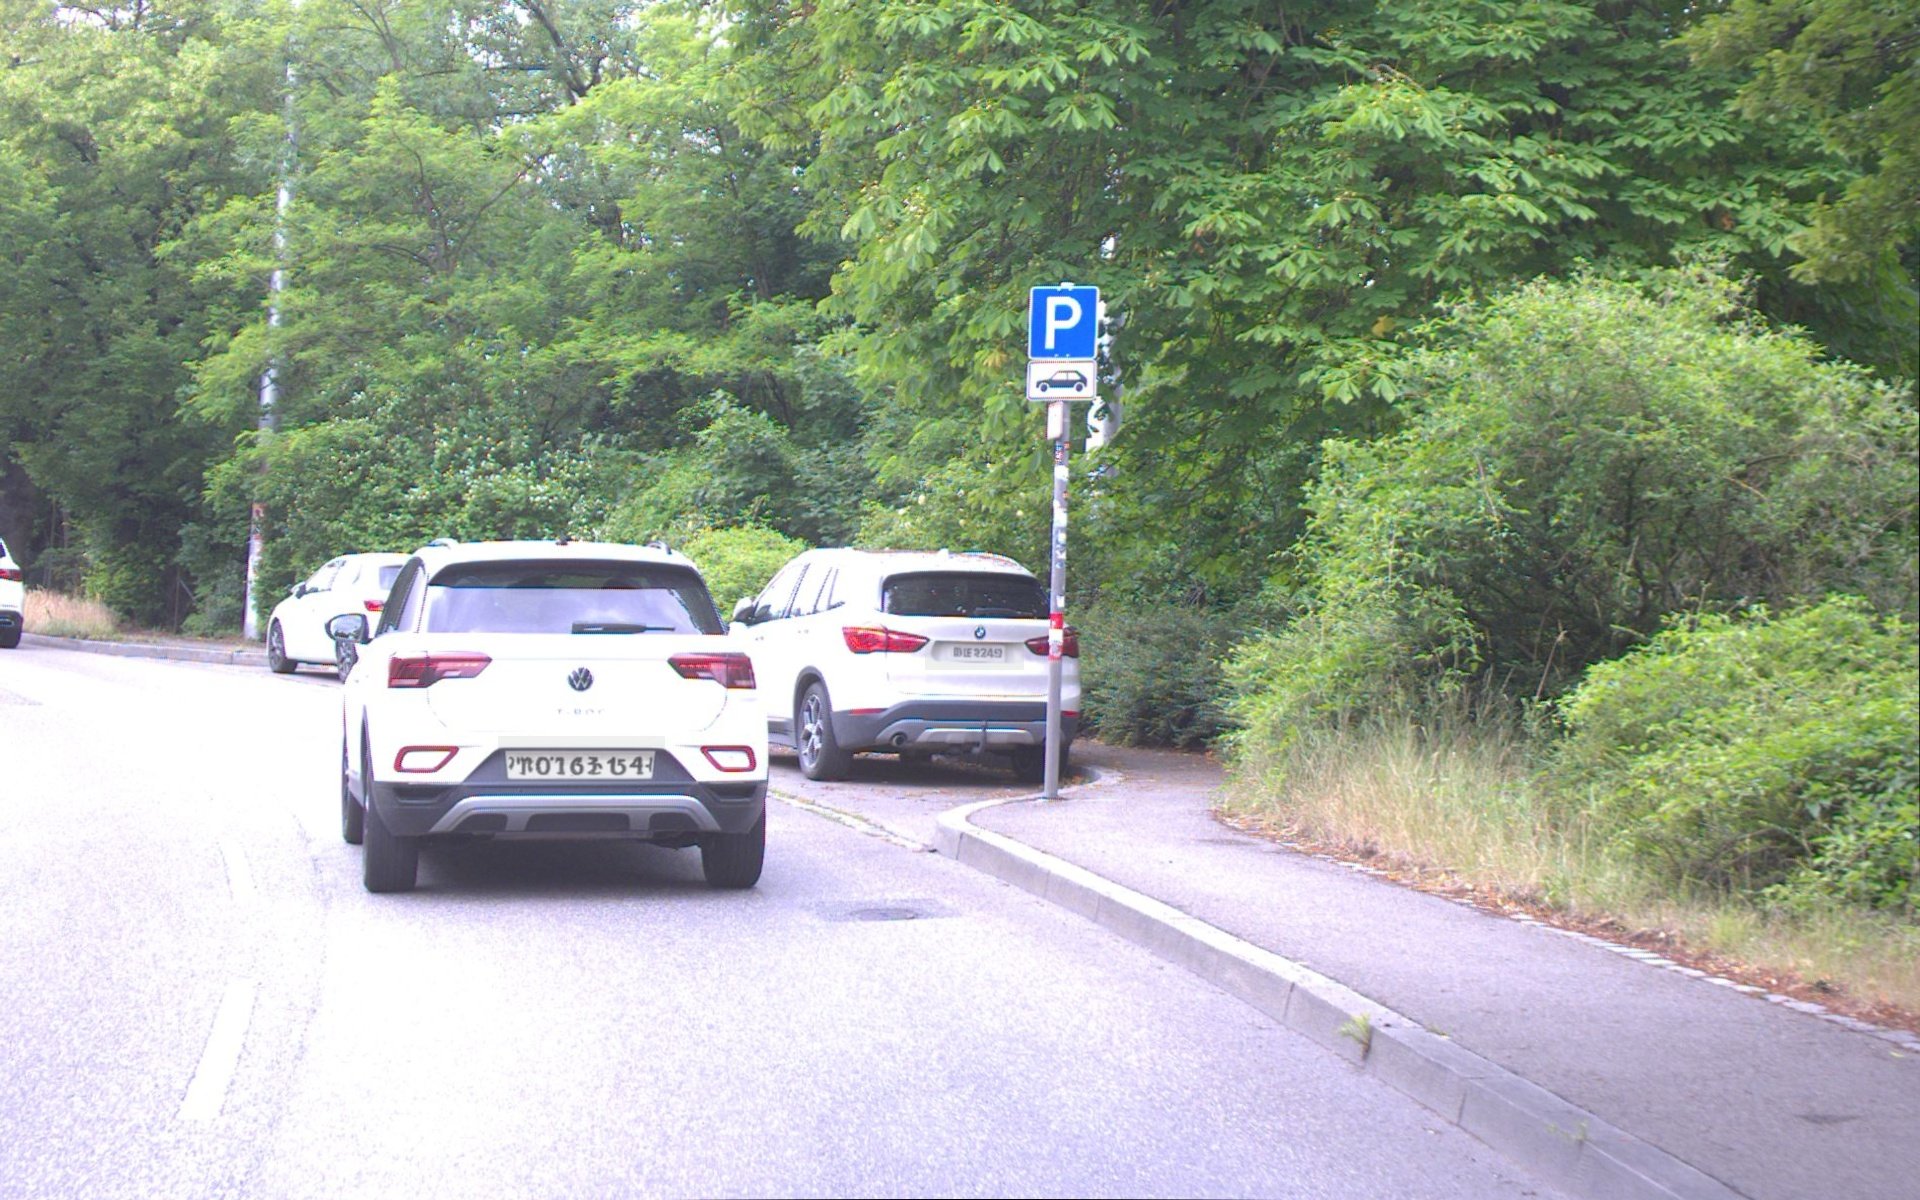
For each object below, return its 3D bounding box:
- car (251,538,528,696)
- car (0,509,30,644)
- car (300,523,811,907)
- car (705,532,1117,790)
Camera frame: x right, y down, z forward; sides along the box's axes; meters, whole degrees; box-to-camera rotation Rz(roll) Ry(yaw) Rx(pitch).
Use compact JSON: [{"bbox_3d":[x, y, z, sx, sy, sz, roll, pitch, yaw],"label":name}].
[{"bbox_3d":[-6.555,0.153,39.071,1.732,1.477,4.703,4,1,-26],"label":"car"},{"bbox_3d":[-14.040,-0.399,46.933,1.851,1.696,4.002,0,4,-26],"label":"car"},{"bbox_3d":[-2.063,0.449,16.420,2.000,1.590,4.001,1,1,-13],"label":"car"},{"bbox_3d":[-0.460,0.367,24.453,1.758,1.646,4.382,1,1,-17],"label":"car"}]
